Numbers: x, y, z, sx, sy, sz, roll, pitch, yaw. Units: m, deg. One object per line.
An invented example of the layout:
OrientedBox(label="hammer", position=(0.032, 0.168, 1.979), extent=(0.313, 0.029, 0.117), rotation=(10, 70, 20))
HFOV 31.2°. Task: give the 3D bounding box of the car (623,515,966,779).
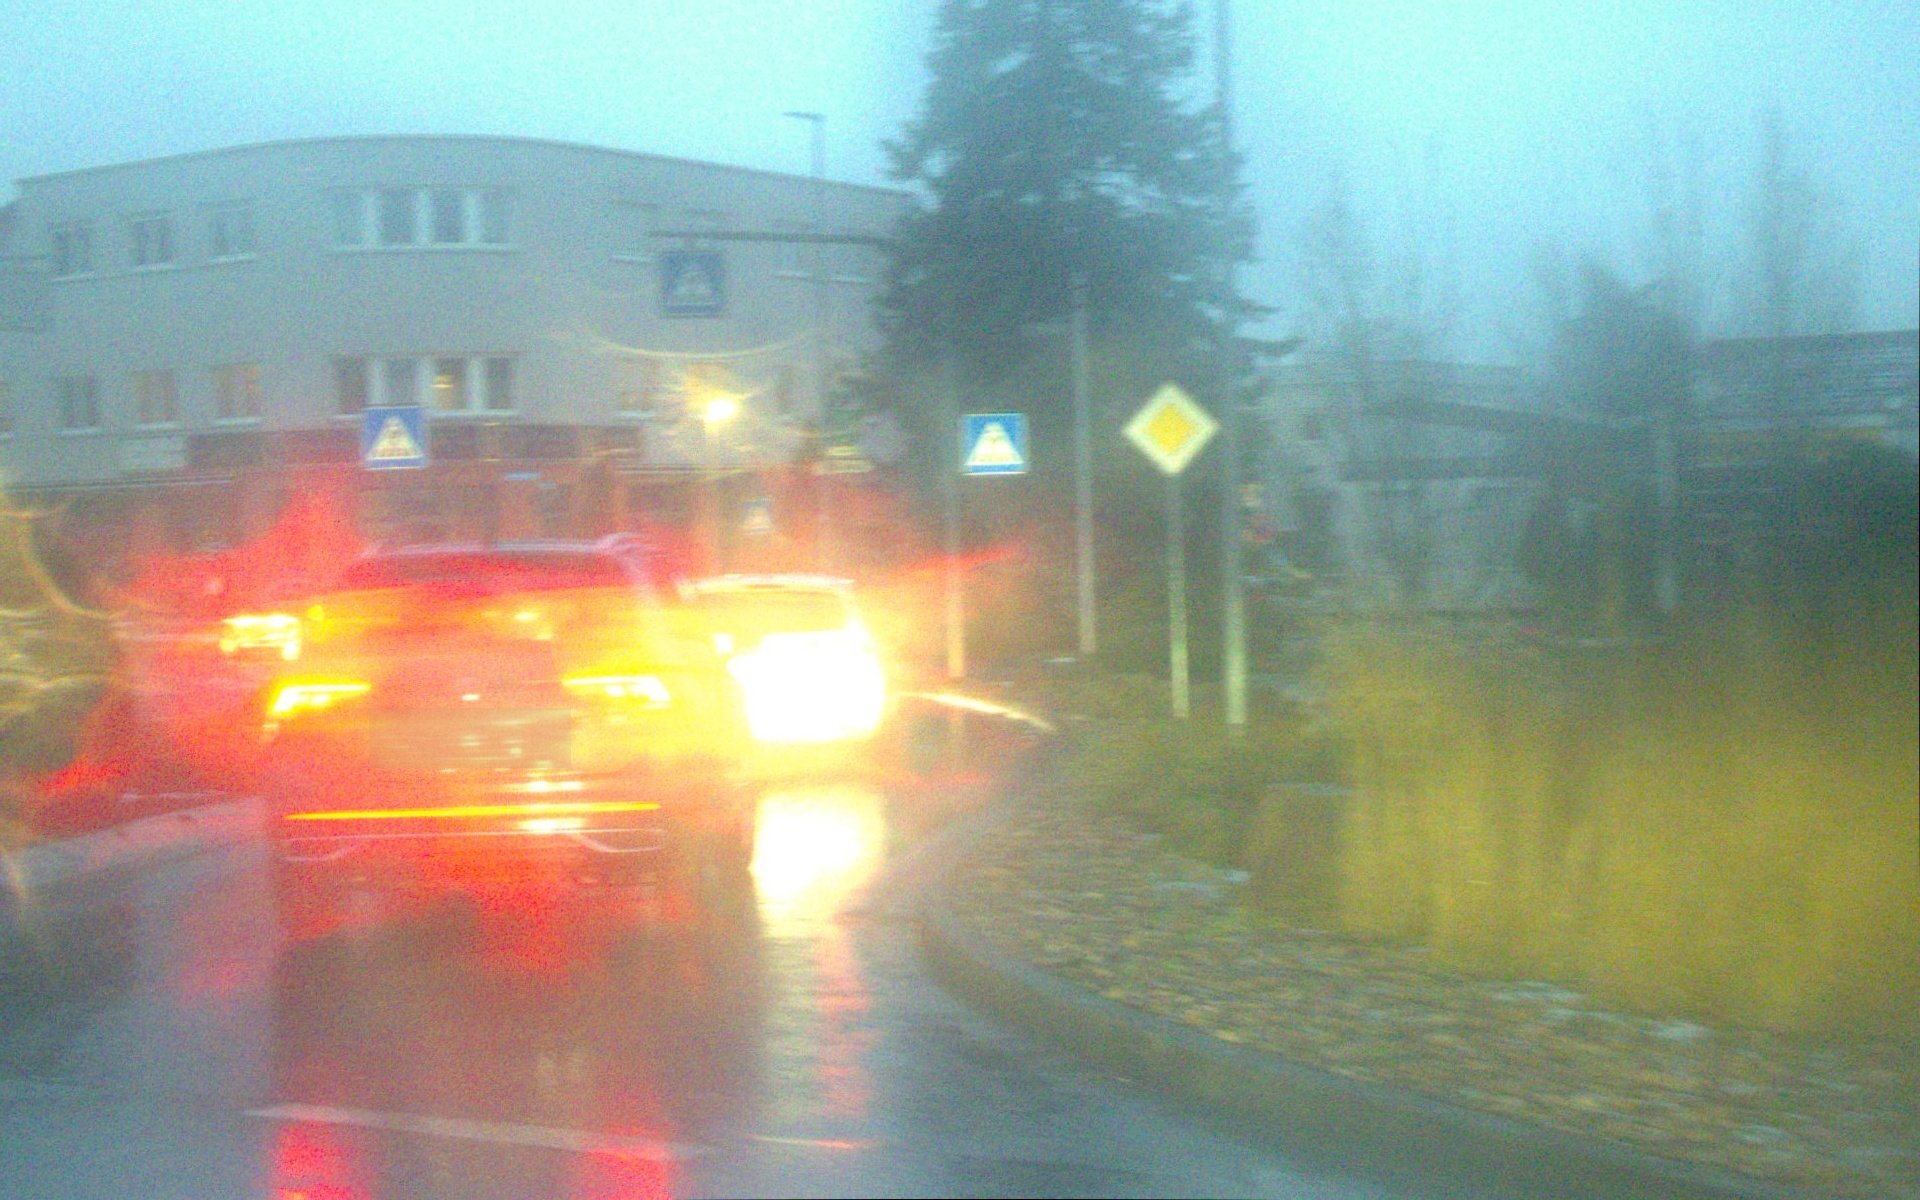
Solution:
OrientedBox(label="car", position=(-1.165, 0.278, 26.524), extent=(2.163, 1.683, 4.572), rotation=(-2, 3, 3))

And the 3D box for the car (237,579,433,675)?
OrientedBox(label="car", position=(-10.793, 0.484, 59.091), extent=(1.882, 1.543, 4.571), rotation=(-2, 0, -29))

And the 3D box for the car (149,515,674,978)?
OrientedBox(label="car", position=(-2.301, 0.504, 15.121), extent=(1.944, 1.712, 4.001), rotation=(-1, 2, -6))
